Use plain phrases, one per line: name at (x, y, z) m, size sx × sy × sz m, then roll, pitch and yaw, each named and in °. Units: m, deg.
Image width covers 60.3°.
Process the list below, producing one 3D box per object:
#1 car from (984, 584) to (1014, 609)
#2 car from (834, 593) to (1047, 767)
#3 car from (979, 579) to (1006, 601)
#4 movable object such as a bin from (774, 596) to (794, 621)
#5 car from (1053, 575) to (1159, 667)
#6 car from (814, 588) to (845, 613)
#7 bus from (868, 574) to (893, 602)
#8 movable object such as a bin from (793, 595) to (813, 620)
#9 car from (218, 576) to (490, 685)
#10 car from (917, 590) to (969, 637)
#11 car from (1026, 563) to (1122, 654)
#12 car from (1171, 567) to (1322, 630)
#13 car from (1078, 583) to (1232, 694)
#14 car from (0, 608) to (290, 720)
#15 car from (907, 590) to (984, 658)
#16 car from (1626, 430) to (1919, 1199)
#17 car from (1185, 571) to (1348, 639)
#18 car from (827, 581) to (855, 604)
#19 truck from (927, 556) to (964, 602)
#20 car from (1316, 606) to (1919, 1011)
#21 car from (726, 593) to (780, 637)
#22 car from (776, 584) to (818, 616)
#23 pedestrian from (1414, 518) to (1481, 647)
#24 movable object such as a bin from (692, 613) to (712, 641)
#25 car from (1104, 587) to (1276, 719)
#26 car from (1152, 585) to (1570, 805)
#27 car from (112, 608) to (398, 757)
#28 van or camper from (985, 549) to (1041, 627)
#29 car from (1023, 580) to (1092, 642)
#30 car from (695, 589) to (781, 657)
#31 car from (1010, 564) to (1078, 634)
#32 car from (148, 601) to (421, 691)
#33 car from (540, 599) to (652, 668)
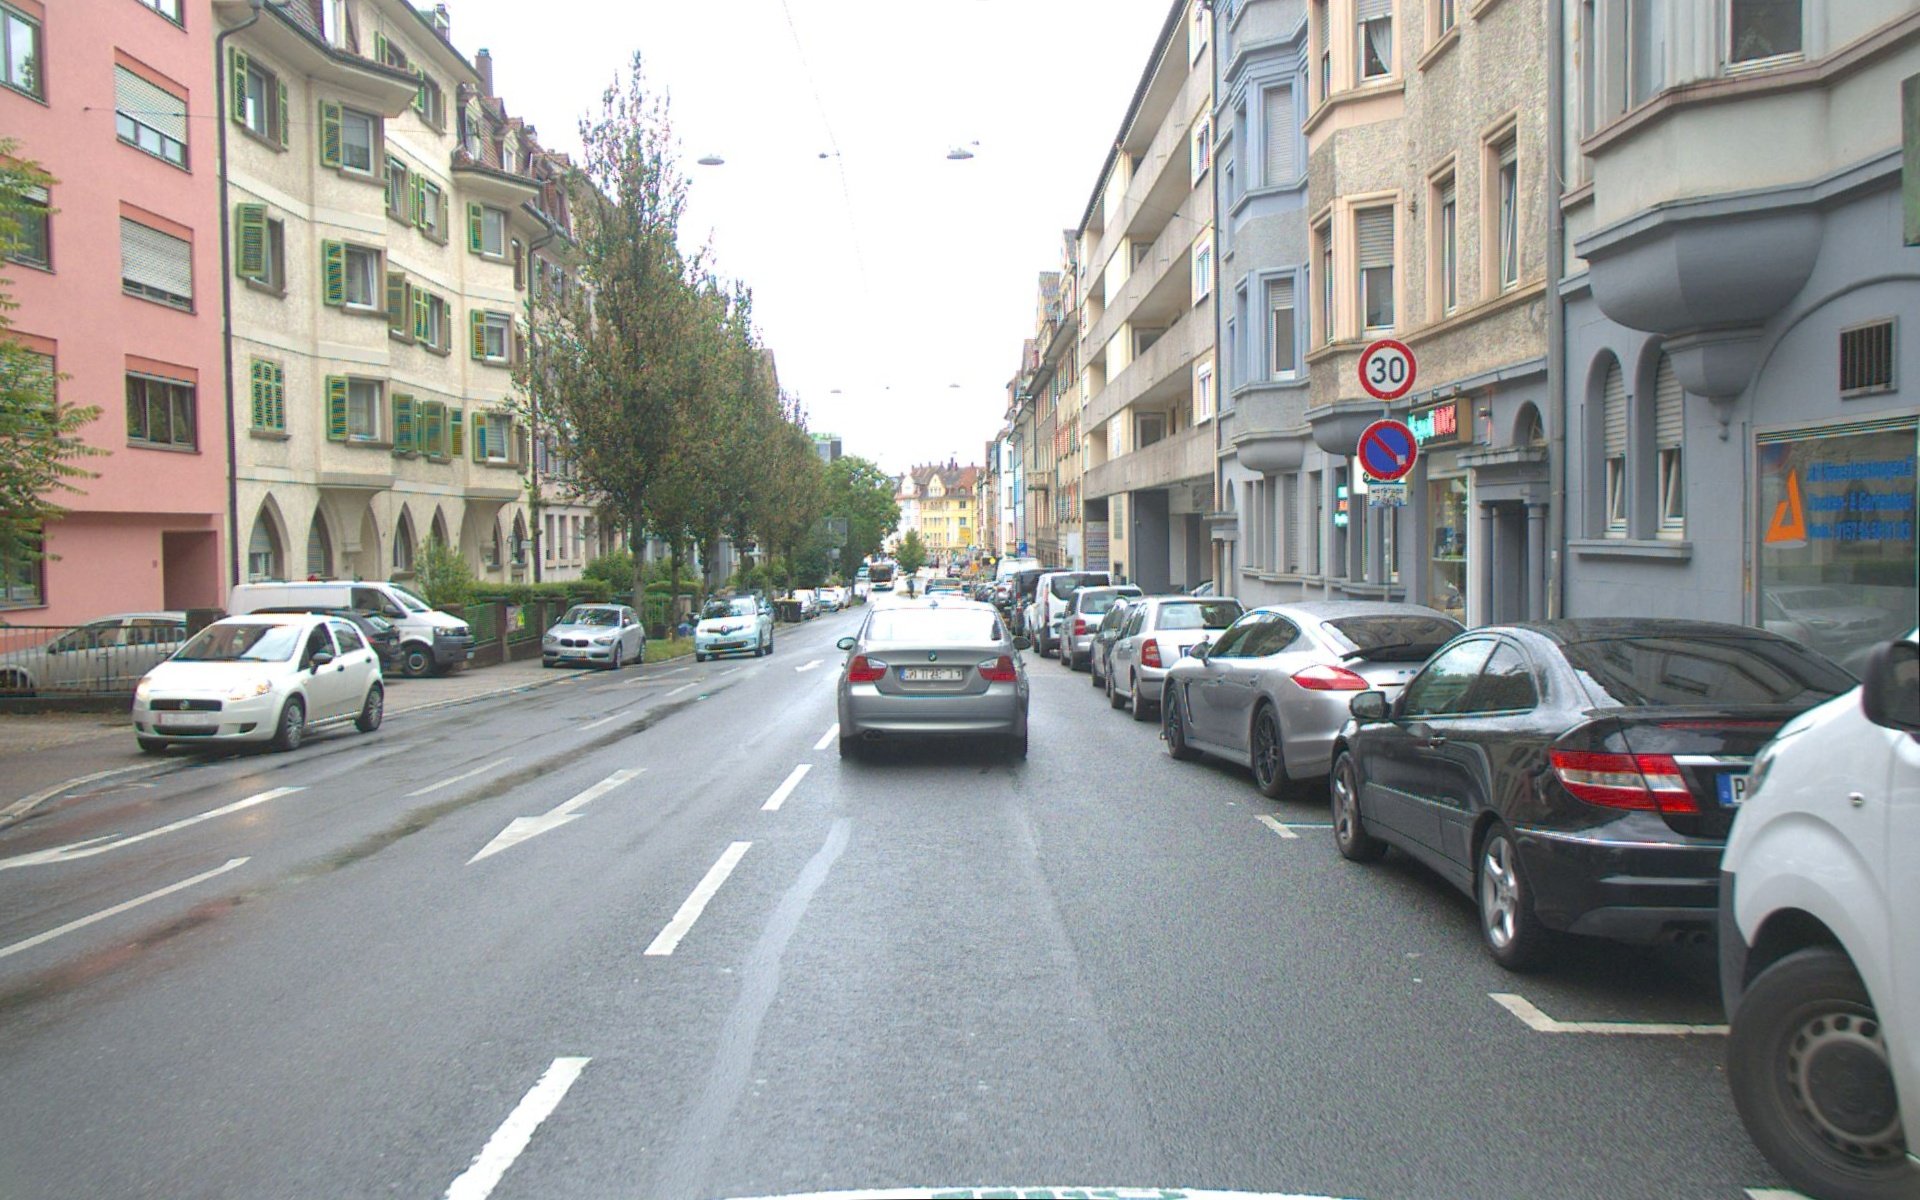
car at (2.446, -0.231, 104.282) m, size 1.663 × 1.509 × 3.974 m, roll 0°, pitch 0°, yaw -1°
car at (-0.303, 0.671, 15.771) m, size 1.735 × 1.453 × 3.737 m, roll 0°, pitch 0°, yaw -5°
car at (2.237, -0.669, 114.162) m, size 1.663 × 1.509 × 3.974 m, roll 0°, pitch 0°, yaw -1°
movable object such as a bin at (-8.679, 0.412, 81.560) m, size 0.883 × 1.189 × 0.895 m, roll 0°, pitch 0°, yaw -1°
car at (2.963, 0.393, 34.339) m, size 1.691 × 1.699 × 4.288 m, roll -3°, pitch 0°, yaw -1°
car at (-8.640, -0.001, 109.697) m, size 1.656 × 1.550 × 3.737 m, roll -3°, pitch 1°, yaw 0°
bus at (-9.455, -1.428, 196.747) m, size 2.614 × 3.077 × 7.669 m, roll -2°, pitch 0°, yaw -1°
movable object such as a bin at (-7.747, 0.371, 81.563) m, size 0.916 × 1.189 × 0.909 m, roll 0°, pitch 0°, yaw -1°
car at (-12.290, 0.597, 33.800) m, size 4.731 × 2.008 × 2.048 m, roll -2°, pitch 0°, yaw -1°
car at (-0.592, 0.443, 55.305) m, size 1.663 × 1.509 × 3.792 m, roll 0°, pitch 0°, yaw -1°
car at (2.758, 0.181, 41.062) m, size 1.941 × 2.042 × 4.624 m, roll -2°, pitch 0°, yaw -1°
car at (8.254, -0.054, 47.598) m, size 4.195 × 1.669 × 1.669 m, roll -1°, pitch 2°, yaw 12°
car at (3.026, 0.548, 26.610) m, size 1.861 × 1.504 × 4.799 m, roll -4°, pitch 0°, yaw 0°
car at (-12.599, 0.953, 25.519) m, size 3.809 × 1.483 × 1.789 m, roll -2°, pitch 0°, yaw -8°
car at (-0.289, 0.520, 37.597) m, size 1.647 × 1.453 × 3.741 m, roll 0°, pitch 0°, yaw 0°
car at (3.093, 0.526, 2.723) m, size 1.880 × 1.859 × 5.008 m, roll -2°, pitch 0°, yaw -1°
car at (8.223, 0.119, 44.376) m, size 4.195 × 1.669 × 1.669 m, roll -1°, pitch 2°, yaw 12°
car at (-8.584, -0.574, 119.428) m, size 1.656 × 1.550 × 3.737 m, roll -3°, pitch 1°, yaw 0°
truck at (-0.862, -1.140, 92.360) m, size 1.991 × 2.455 × 4.825 m, roll 0°, pitch 0°, yaw -1°
car at (3.036, 0.755, 8.076) m, size 1.643 × 1.399 × 4.275 m, roll 0°, pitch 0°, yaw -1°
car at (-8.472, 0.584, 67.979) m, size 1.731 × 1.621 × 3.999 m, roll -3°, pitch 1°, yaw -2°
car at (-8.776, -0.011, 89.300) m, size 1.790 × 1.550 × 3.737 m, roll -3°, pitch 1°, yaw 0°
pedestrian at (6.396, -0.227, 21.706) m, size 0.479 × 1.648 × 0.660 m, roll -2°, pitch 0°, yaw -31°
movable object such as a bin at (-8.608, 0.897, 55.196) m, size 0.565 × 0.928 × 0.638 m, roll -2°, pitch 0°, yaw -15°
car at (2.803, 0.588, 20.904) m, size 1.578 × 1.500 × 4.015 m, roll 0°, pitch 0°, yaw -1°
car at (3.044, 0.642, 13.728) m, size 1.839 × 1.493 × 4.768 m, roll 0°, pitch 0°, yaw -7°
car at (-8.091, 0.878, 19.387) m, size 1.588 × 1.471 × 4.005 m, roll -1°, pitch 0°, yaw 0°
van or camper at (2.177, -0.491, 66.350) m, size 1.991 × 2.918 × 6.888 m, roll 2°, pitch 1°, yaw 3°
car at (2.817, 0.295, 48.719) m, size 1.691 × 1.699 × 4.288 m, roll -2°, pitch 0°, yaw -1°
car at (-5.586, 0.549, 41.953) m, size 1.603 × 1.534 × 3.754 m, roll -4°, pitch 0°, yaw -1°
car at (2.785, -0.057, 55.758) m, size 1.941 × 2.203 × 4.749 m, roll -2°, pitch 0°, yaw -1°
car at (-12.562, 0.840, 30.966) m, size 4.343 × 1.477 × 1.791 m, roll -2°, pitch 0°, yaw -3°
car at (-8.526, 0.750, 39.038) m, size 1.691 × 1.509 × 3.989 m, roll 1°, pitch 0°, yaw 0°
